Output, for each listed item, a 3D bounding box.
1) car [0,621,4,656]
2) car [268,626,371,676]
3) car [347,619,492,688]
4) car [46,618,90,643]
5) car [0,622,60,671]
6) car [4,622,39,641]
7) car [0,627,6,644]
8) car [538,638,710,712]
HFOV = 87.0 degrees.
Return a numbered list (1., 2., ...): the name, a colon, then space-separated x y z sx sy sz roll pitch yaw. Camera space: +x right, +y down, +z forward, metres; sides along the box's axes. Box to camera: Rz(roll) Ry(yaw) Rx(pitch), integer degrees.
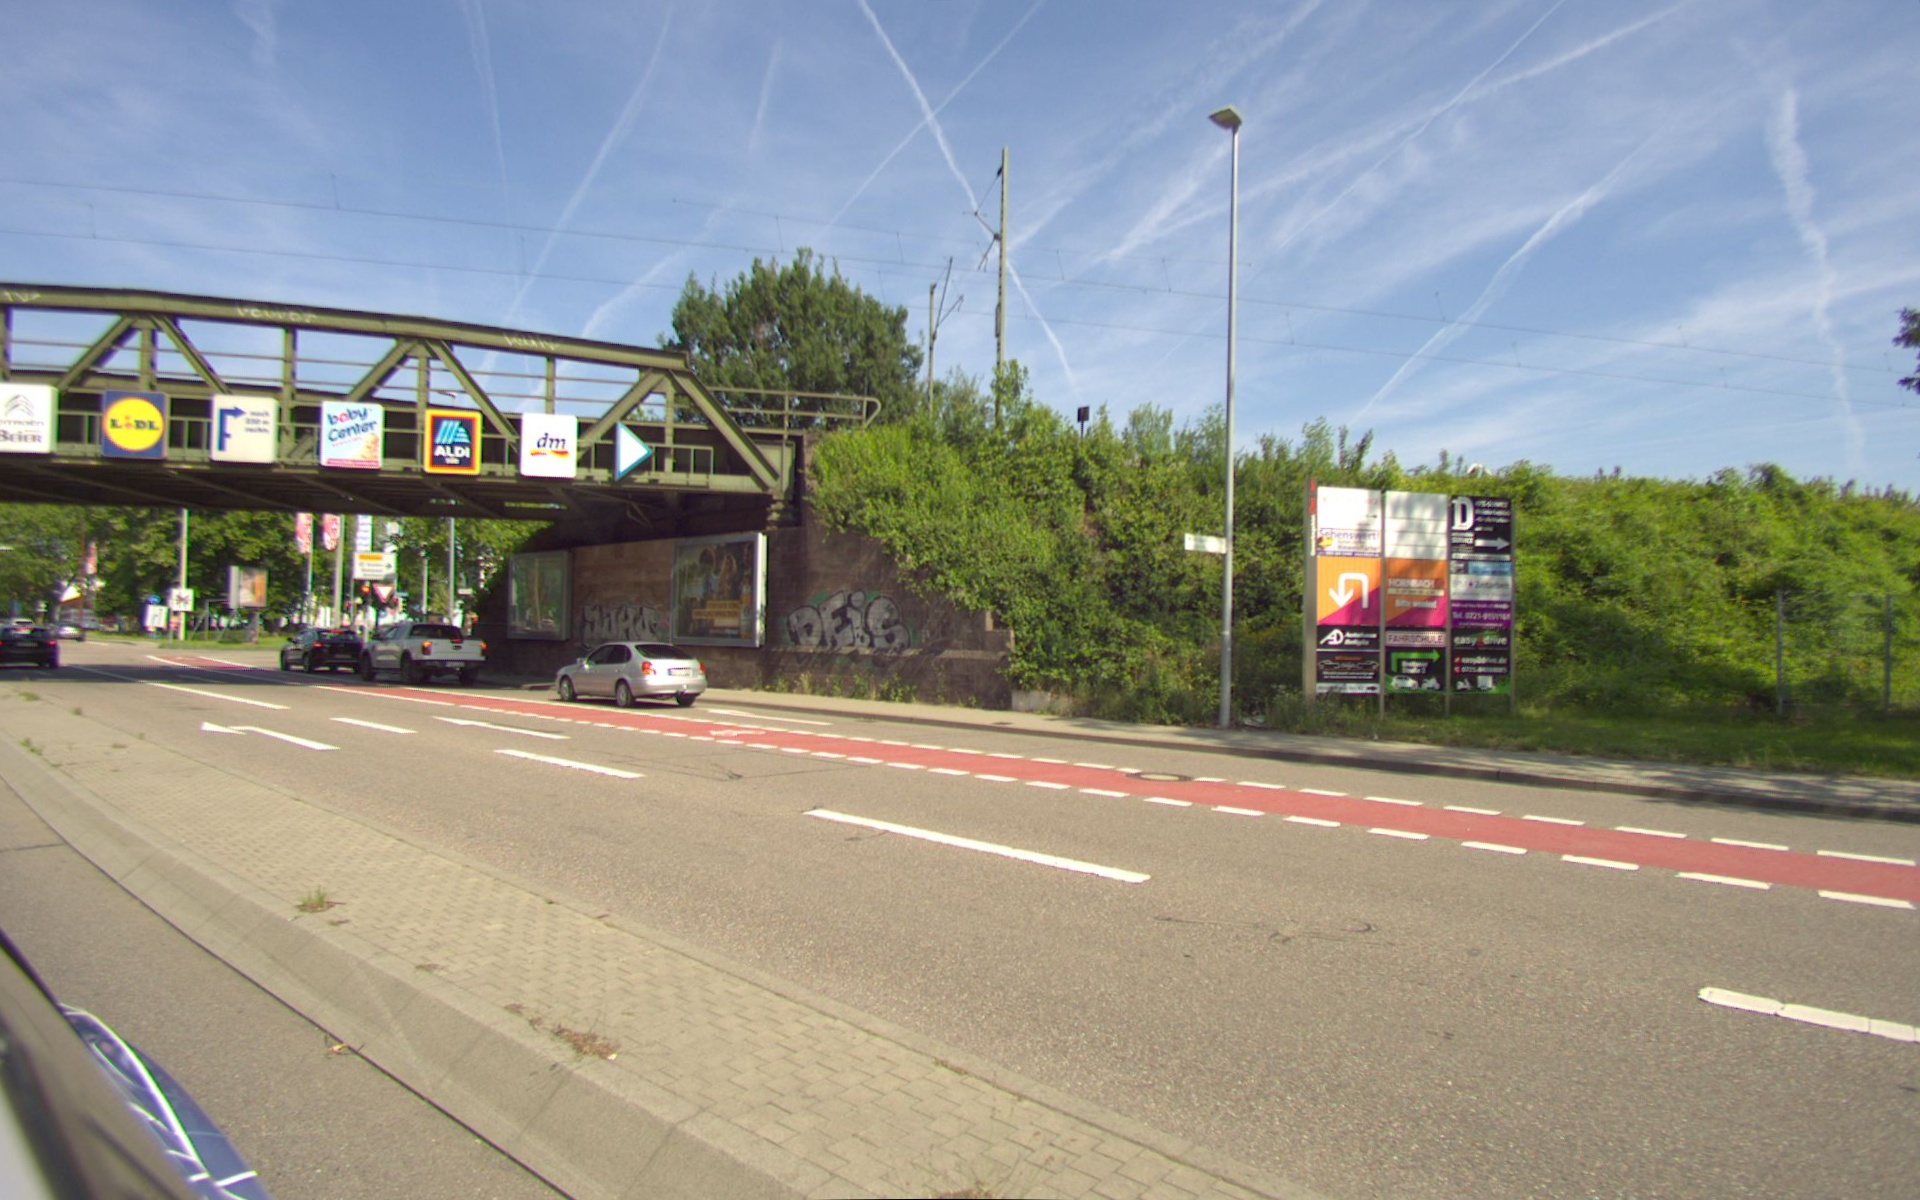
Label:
1. car: -44.025 1.628 43.142 1.681 1.585 4.922 1 -2 2
2. car: -22.650 1.761 35.745 4.385 1.608 1.853 -1 -3 41
3. car: -16.351 1.580 30.483 5.448 1.875 1.973 -1 -5 41
4. car: -65.903 2.238 74.760 3.632 1.735 1.801 -1 -1 39
5. car: -30.894 1.486 33.007 4.119 1.458 1.762 0 -3 41
6. car: -86.352 2.869 93.113 3.632 1.735 1.801 -1 -1 39
7. car: -103.944 3.799 108.511 3.821 1.735 1.904 -1 -1 39
8. car: -7.438 1.591 22.200 4.316 1.398 1.618 -1 -3 41
